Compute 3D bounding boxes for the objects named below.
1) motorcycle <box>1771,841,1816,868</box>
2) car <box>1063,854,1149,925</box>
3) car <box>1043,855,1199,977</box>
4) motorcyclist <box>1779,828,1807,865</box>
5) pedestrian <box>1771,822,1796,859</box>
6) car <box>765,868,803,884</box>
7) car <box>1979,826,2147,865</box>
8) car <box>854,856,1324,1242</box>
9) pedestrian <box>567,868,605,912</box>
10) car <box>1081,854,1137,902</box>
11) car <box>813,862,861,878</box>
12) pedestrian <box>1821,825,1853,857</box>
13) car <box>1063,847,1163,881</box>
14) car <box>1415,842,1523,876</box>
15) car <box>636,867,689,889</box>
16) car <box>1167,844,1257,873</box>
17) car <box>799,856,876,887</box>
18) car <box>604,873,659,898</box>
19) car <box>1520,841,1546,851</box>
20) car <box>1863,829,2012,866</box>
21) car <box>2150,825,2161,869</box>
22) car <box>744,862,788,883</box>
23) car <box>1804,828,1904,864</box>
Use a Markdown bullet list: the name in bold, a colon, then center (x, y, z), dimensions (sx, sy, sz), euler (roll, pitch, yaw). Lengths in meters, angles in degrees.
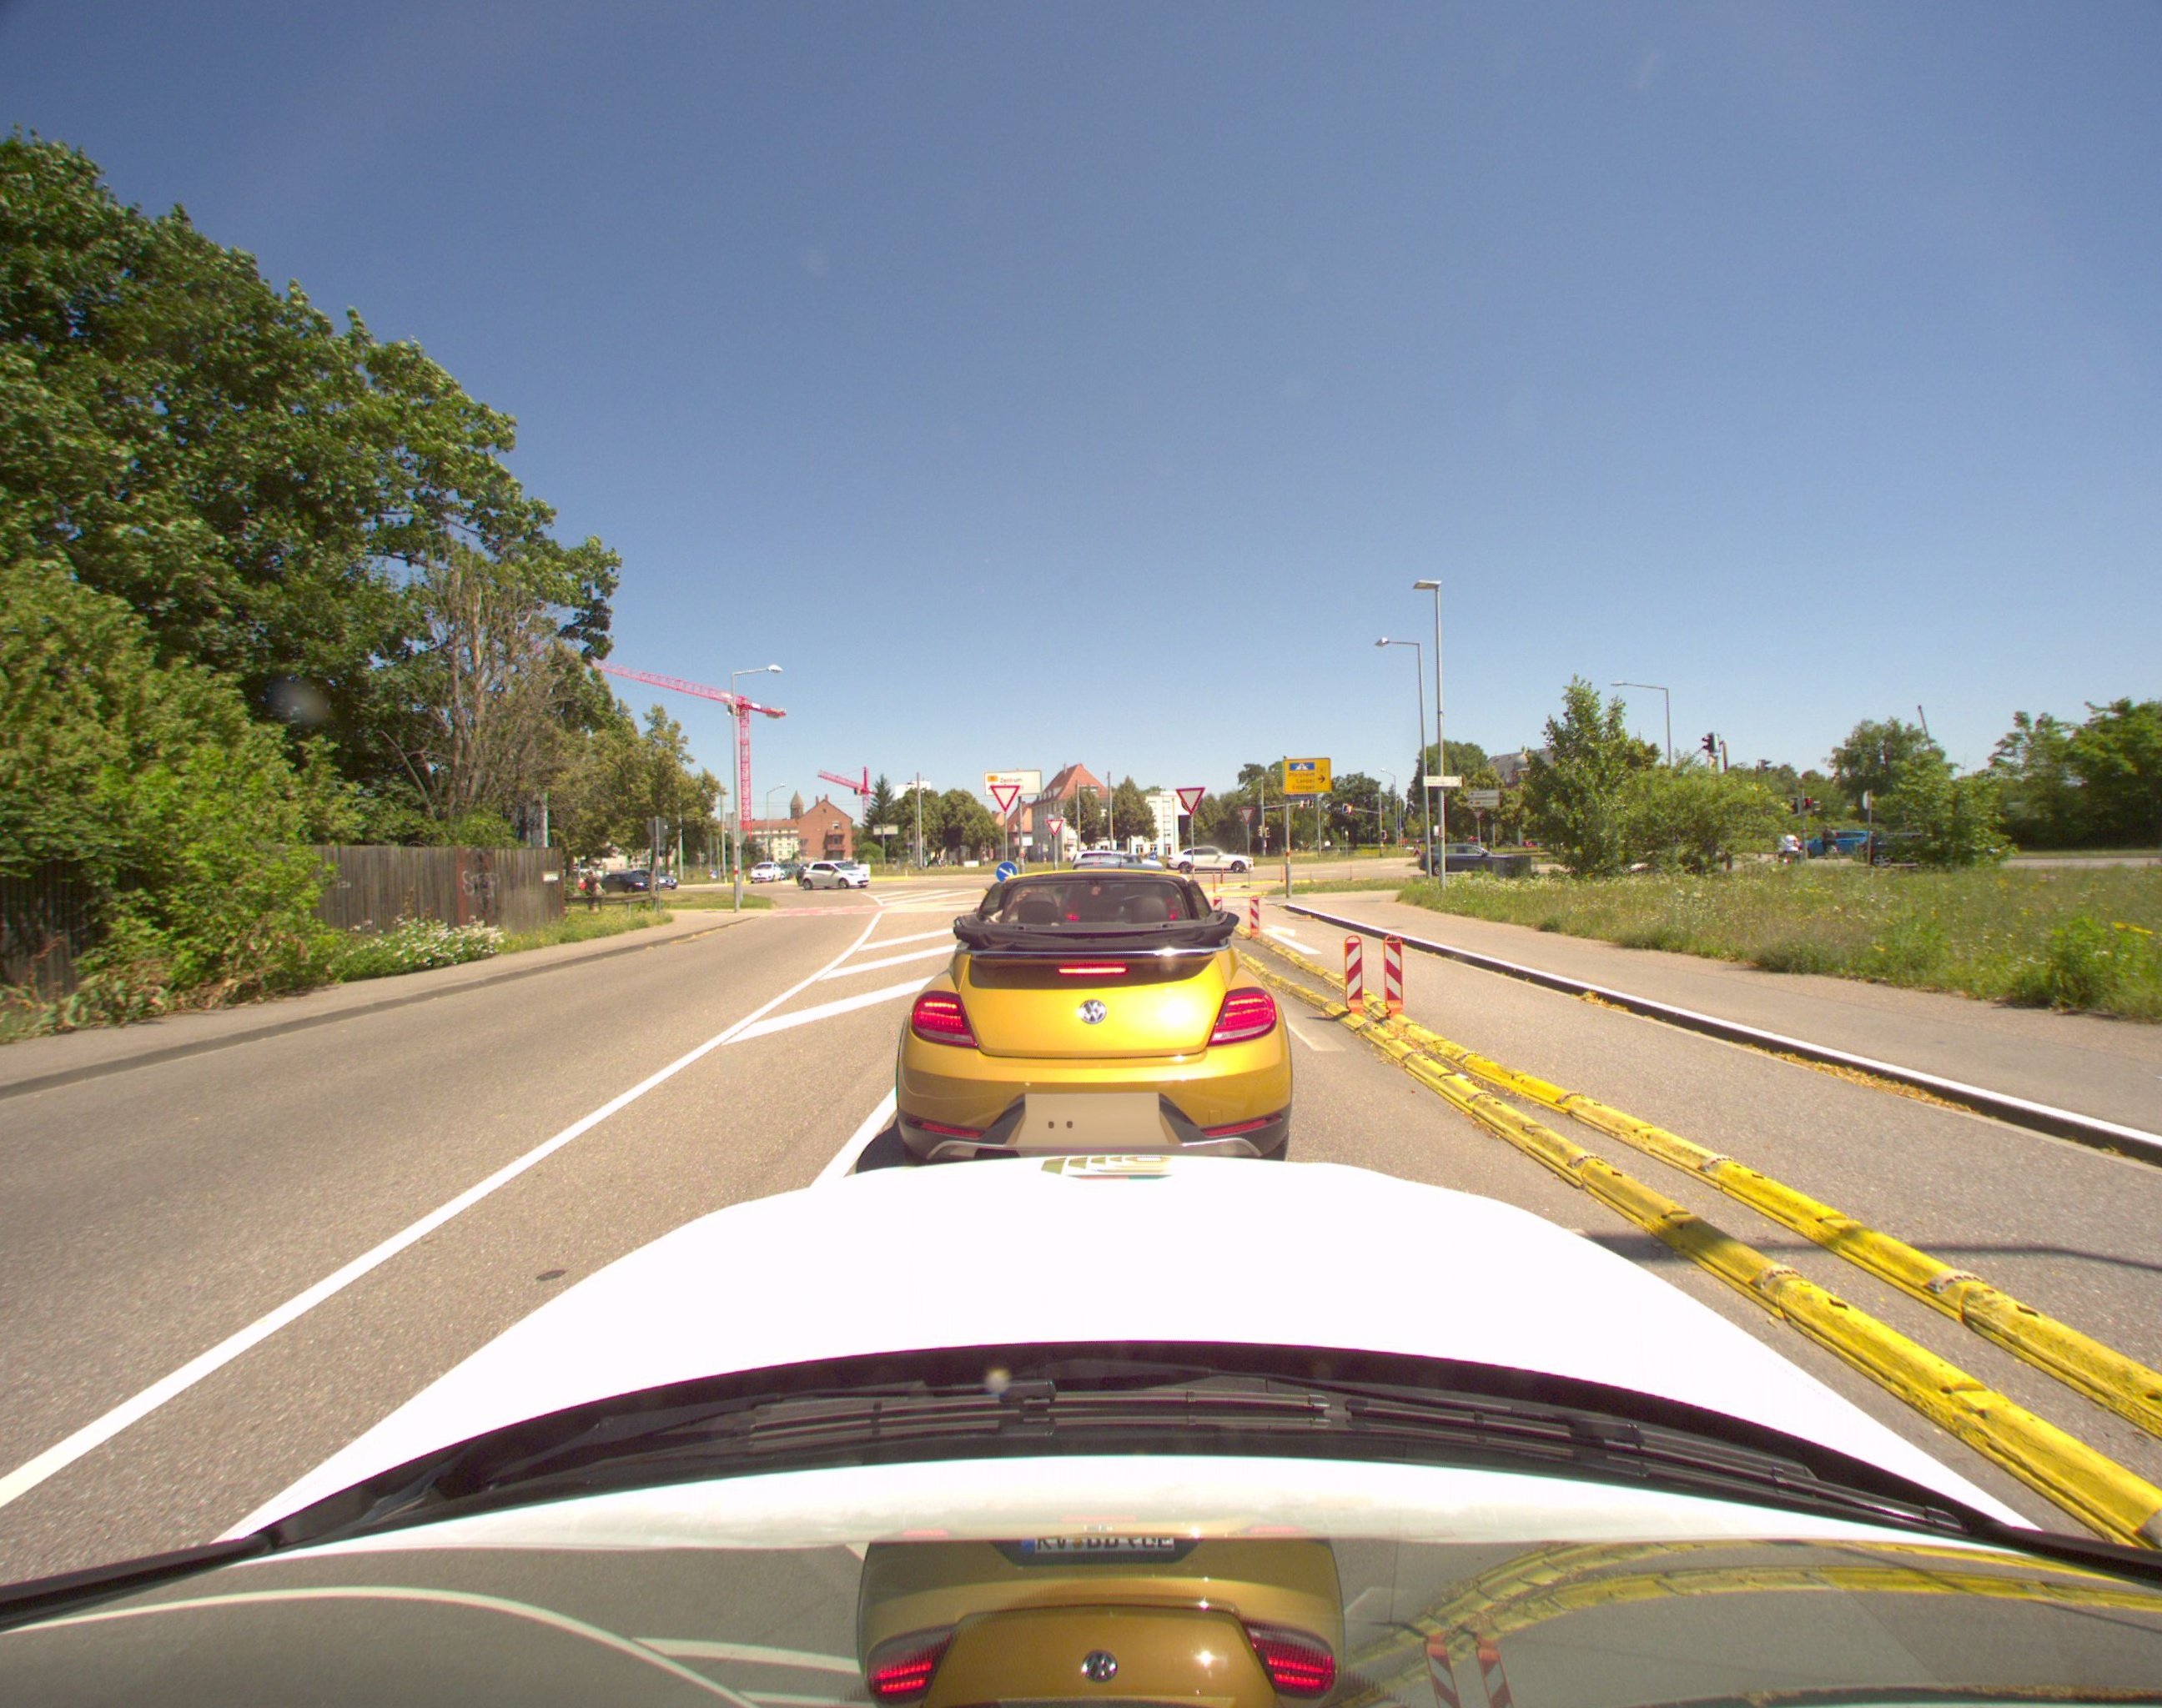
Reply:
- **motorcycle**: center (25.802, 0.018, 29.490), dimensions (1.712, 0.970, 0.625), euler (-1, 0, -28)
- **car**: center (0.582, 0.741, 18.785), dimensions (1.730, 1.442, 4.002), euler (-1, 0, 2)
- **car**: center (0.541, 0.750, 11.767), dimensions (1.841, 1.442, 4.002), euler (-1, 0, 2)
- **motorcyclist**: center (25.822, -0.270, 29.537), dimensions (0.616, 1.289, 0.576), euler (-1, -1, -27)
- **pedestrian**: center (36.605, -0.687, 42.440), dimensions (0.647, 1.870, 0.737), euler (-1, 0, 3)
- **car**: center (-25.217, 1.816, 69.314), dimensions (1.700, 1.236, 3.788), euler (-1, 0, 2)
- **car**: center (39.346, -0.296, 32.817), dimensions (2.011, 1.442, 4.149), euler (-1, 0, -44)
- **car**: center (0.082, 0.741, 4.957), dimensions (1.746, 1.422, 3.778), euler (-1, 0, 1)
- **pedestrian**: center (-18.066, 1.305, 29.737), dimensions (0.866, 1.563, 0.815), euler (-1, -1, 24)
- **car**: center (0.938, 0.747, 27.584), dimensions (1.730, 1.477, 4.002), euler (-1, 0, 2)
- **car**: center (-23.547, 1.548, 78.717), dimensions (1.690, 1.500, 4.247), euler (-1, 0, 34)
- **pedestrian**: center (37.734, -0.630, 40.665), dimensions (0.789, 1.563, 0.823), euler (-1, 0, 3)
- **car**: center (1.620, 0.515, 40.164), dimensions (4.540, 1.566, 2.008), euler (-1, 0, 16)
- **car**: center (17.702, 0.235, 37.353), dimensions (4.173, 1.442, 2.008), euler (-1, 0, 15)
- **car**: center (-30.896, 1.771, 60.046), dimensions (3.948, 1.496, 1.812), euler (-1, 0, 35)
- **car**: center (7.499, 0.254, 46.873), dimensions (4.962, 1.509, 2.005), euler (-1, 0, 8)
- **car**: center (-13.510, 0.969, 45.127), dimensions (3.962, 1.620, 1.690), euler (-1, 0, 27)
- **car**: center (-30.260, 2.094, 54.773), dimensions (3.960, 1.620, 1.748), euler (-1, 0, 36)
- **car**: center (84.778, -1.485, 152.846), dimensions (3.996, 1.714, 1.989), euler (-1, 0, -17)
- **car**: center (34.519, -0.242, 33.001), dimensions (3.949, 1.407, 2.012), euler (-1, 0, 41)
- **car**: center (37.333, -0.263, 25.803), dimensions (3.970, 1.444, 1.642), euler (-1, 0, 44)
- **car**: center (-24.671, 1.413, 63.819), dimensions (1.749, 1.549, 4.002), euler (-1, 0, 2)
- **car**: center (43.080, -0.420, 45.445), dimensions (3.950, 1.838, 2.012), euler (-1, 0, 45)
